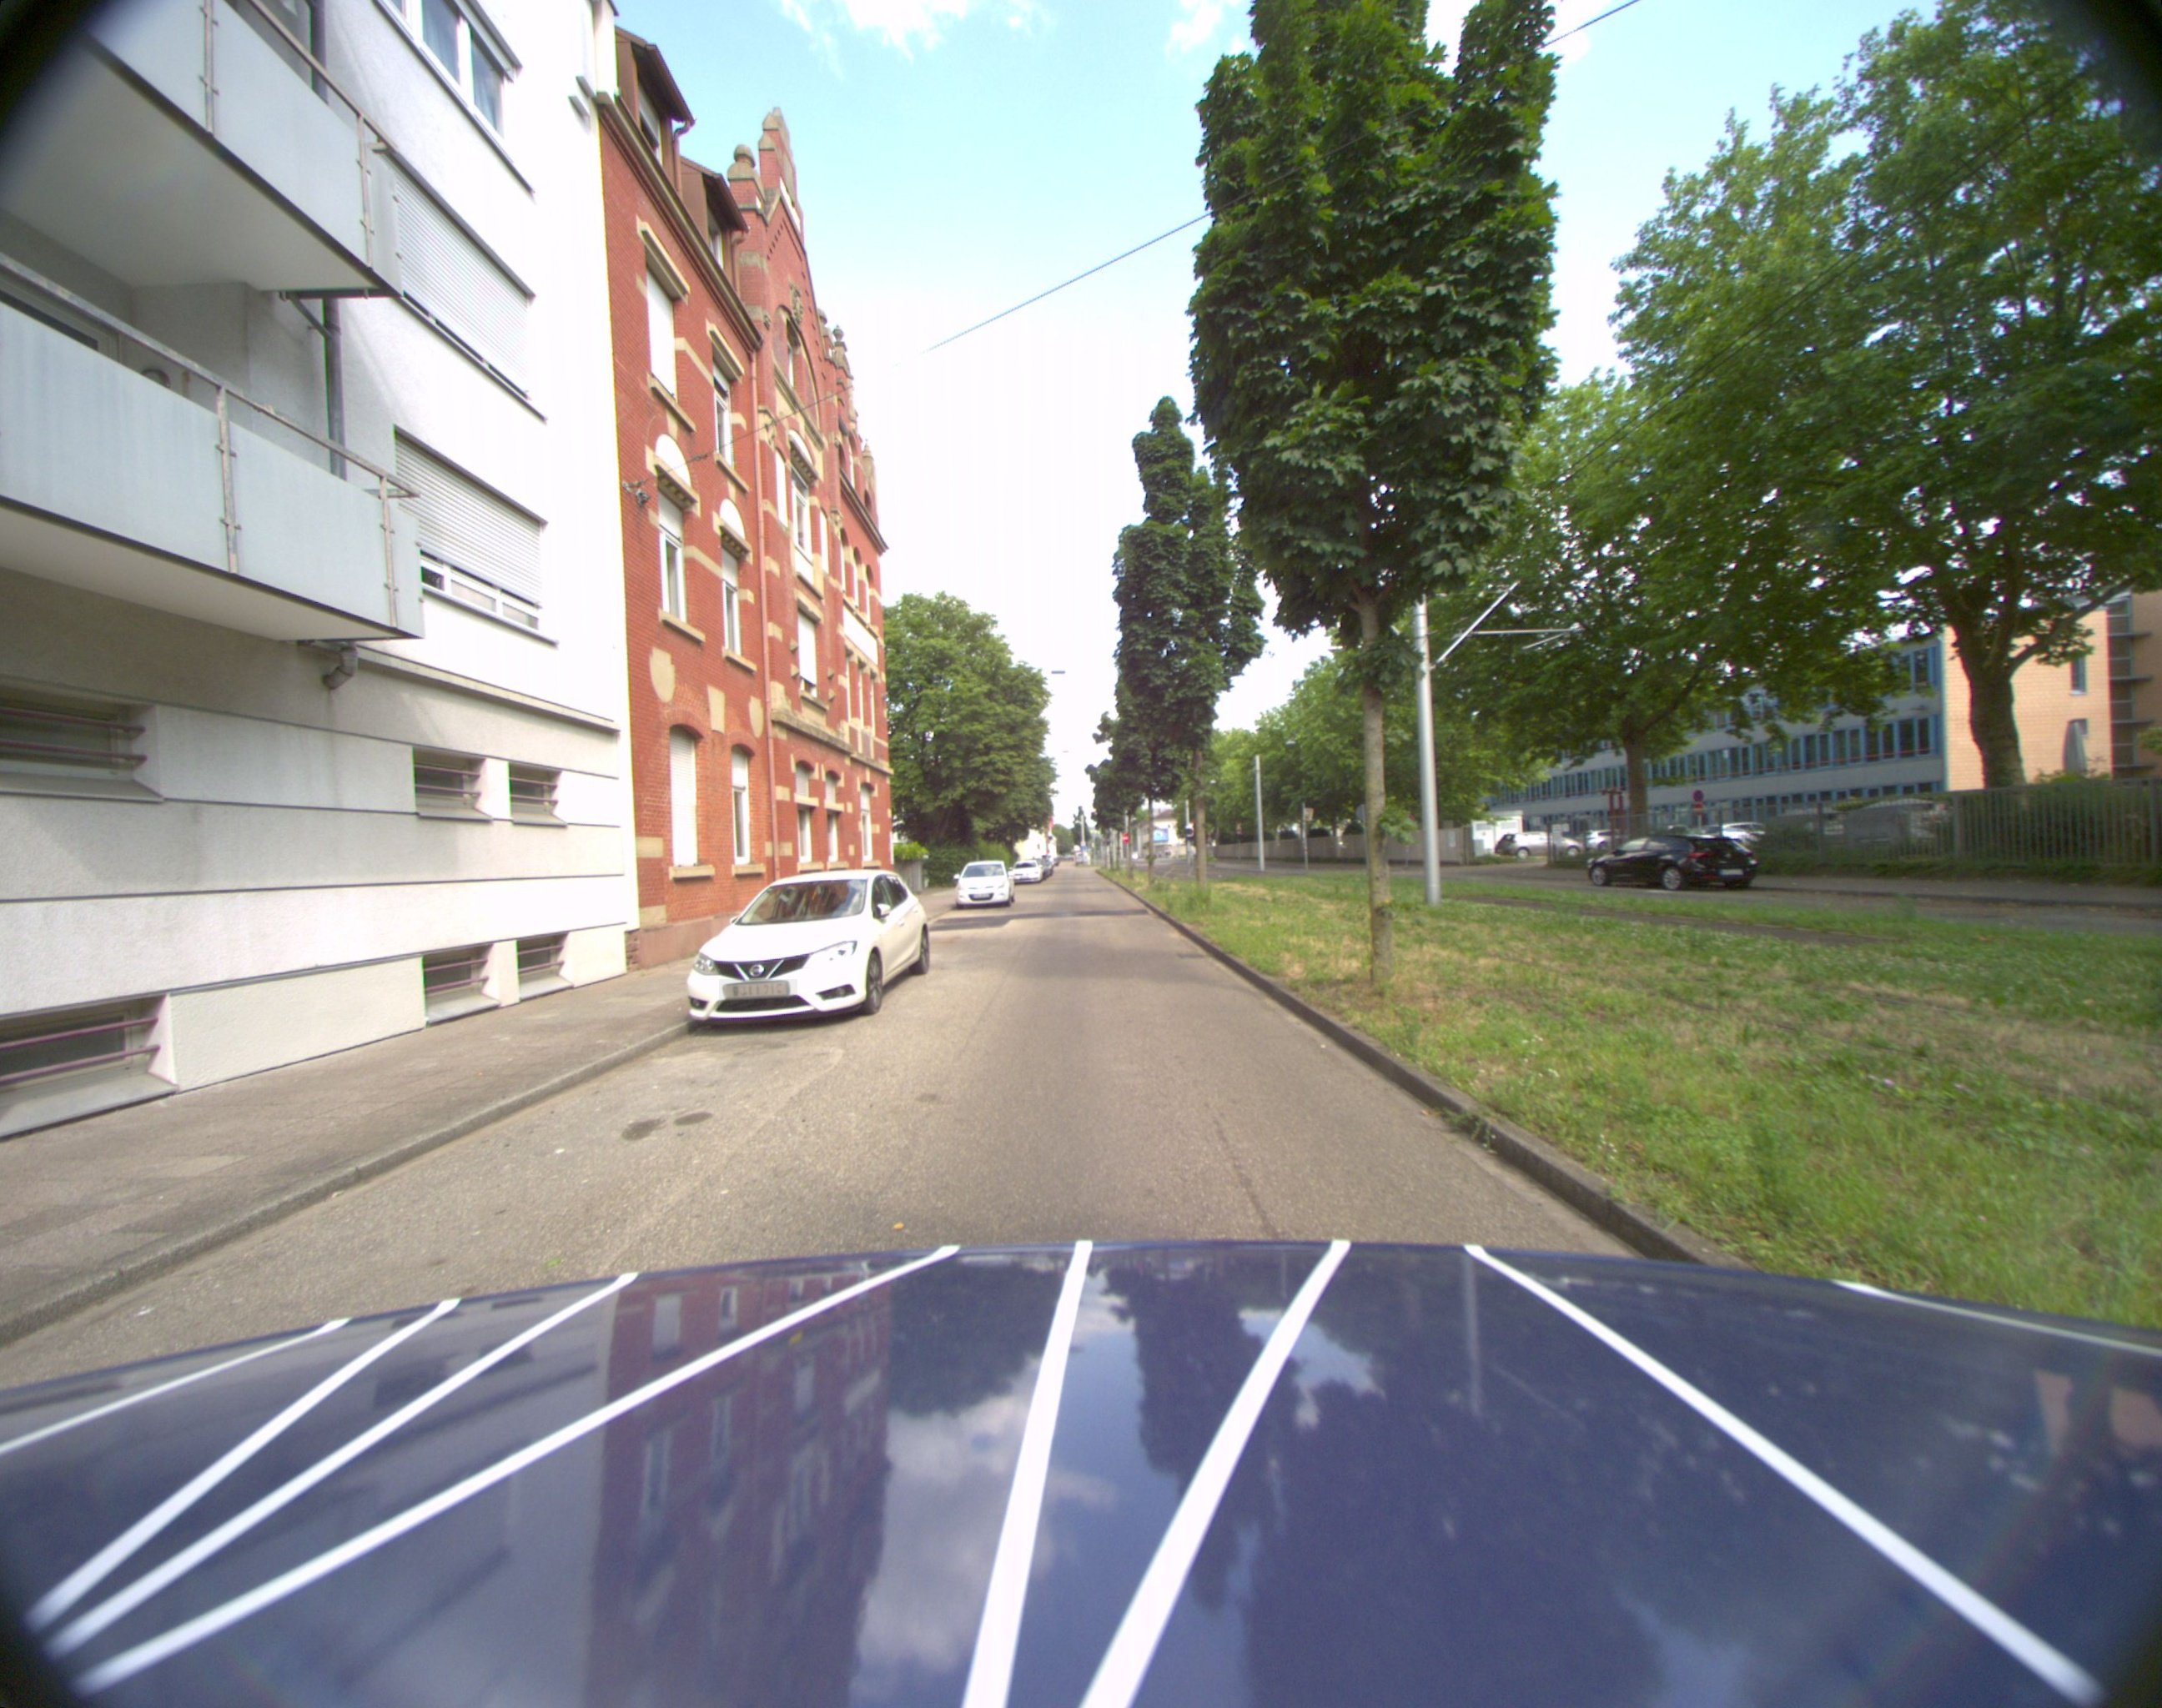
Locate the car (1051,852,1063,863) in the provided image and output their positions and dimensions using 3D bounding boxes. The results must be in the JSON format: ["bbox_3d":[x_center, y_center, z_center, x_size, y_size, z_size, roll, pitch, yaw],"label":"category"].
[{"bbox_3d":[-3.848,0.556,122.064,1.801,1.521,4.040,-5,0,0],"label":"car"}]

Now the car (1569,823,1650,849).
[{"bbox_3d":[35.382,-1.187,50.938,3.997,1.608,1.999,-2,1,-2],"label":"car"}]

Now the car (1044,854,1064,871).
[{"bbox_3d":[-2.727,0.890,78.489,1.801,1.521,4.040,-5,0,0],"label":"car"}]

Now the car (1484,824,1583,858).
[{"bbox_3d":[23.817,-0.700,40.106,3.997,1.608,1.999,-2,1,-2],"label":"car"}]

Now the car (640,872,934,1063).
[{"bbox_3d":[-3.050,1.072,8.892,1.801,1.521,4.040,-3,0,0],"label":"car"}]

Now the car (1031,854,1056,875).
[{"bbox_3d":[-3.130,0.868,63.853,1.801,1.521,4.040,-5,0,0],"label":"car"}]

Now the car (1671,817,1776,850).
[{"bbox_3d":[34.567,-1.074,40.948,3.997,1.608,1.999,-2,1,-2],"label":"car"}]

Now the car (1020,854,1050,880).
[{"bbox_3d":[-3.159,0.877,52.980,1.801,1.521,4.040,-5,0,0],"label":"car"}]

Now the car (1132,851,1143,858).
[{"bbox_3d":[12.067,0.111,162.658,1.801,1.521,4.040,-4,0,0],"label":"car"}]

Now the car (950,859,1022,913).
[{"bbox_3d":[-3.074,0.988,25.288,1.801,1.521,4.040,-4,0,0],"label":"car"}]

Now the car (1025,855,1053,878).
[{"bbox_3d":[-3.198,0.917,58.440,1.801,1.521,4.040,-5,0,0],"label":"car"}]

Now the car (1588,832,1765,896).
[{"bbox_3d":[15.559,0.231,20.140,1.601,1.455,4.000,-3,0,2],"label":"car"}]

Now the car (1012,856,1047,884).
[{"bbox_3d":[-3.137,0.947,46.726,1.801,1.521,4.040,-5,0,0],"label":"car"}]
